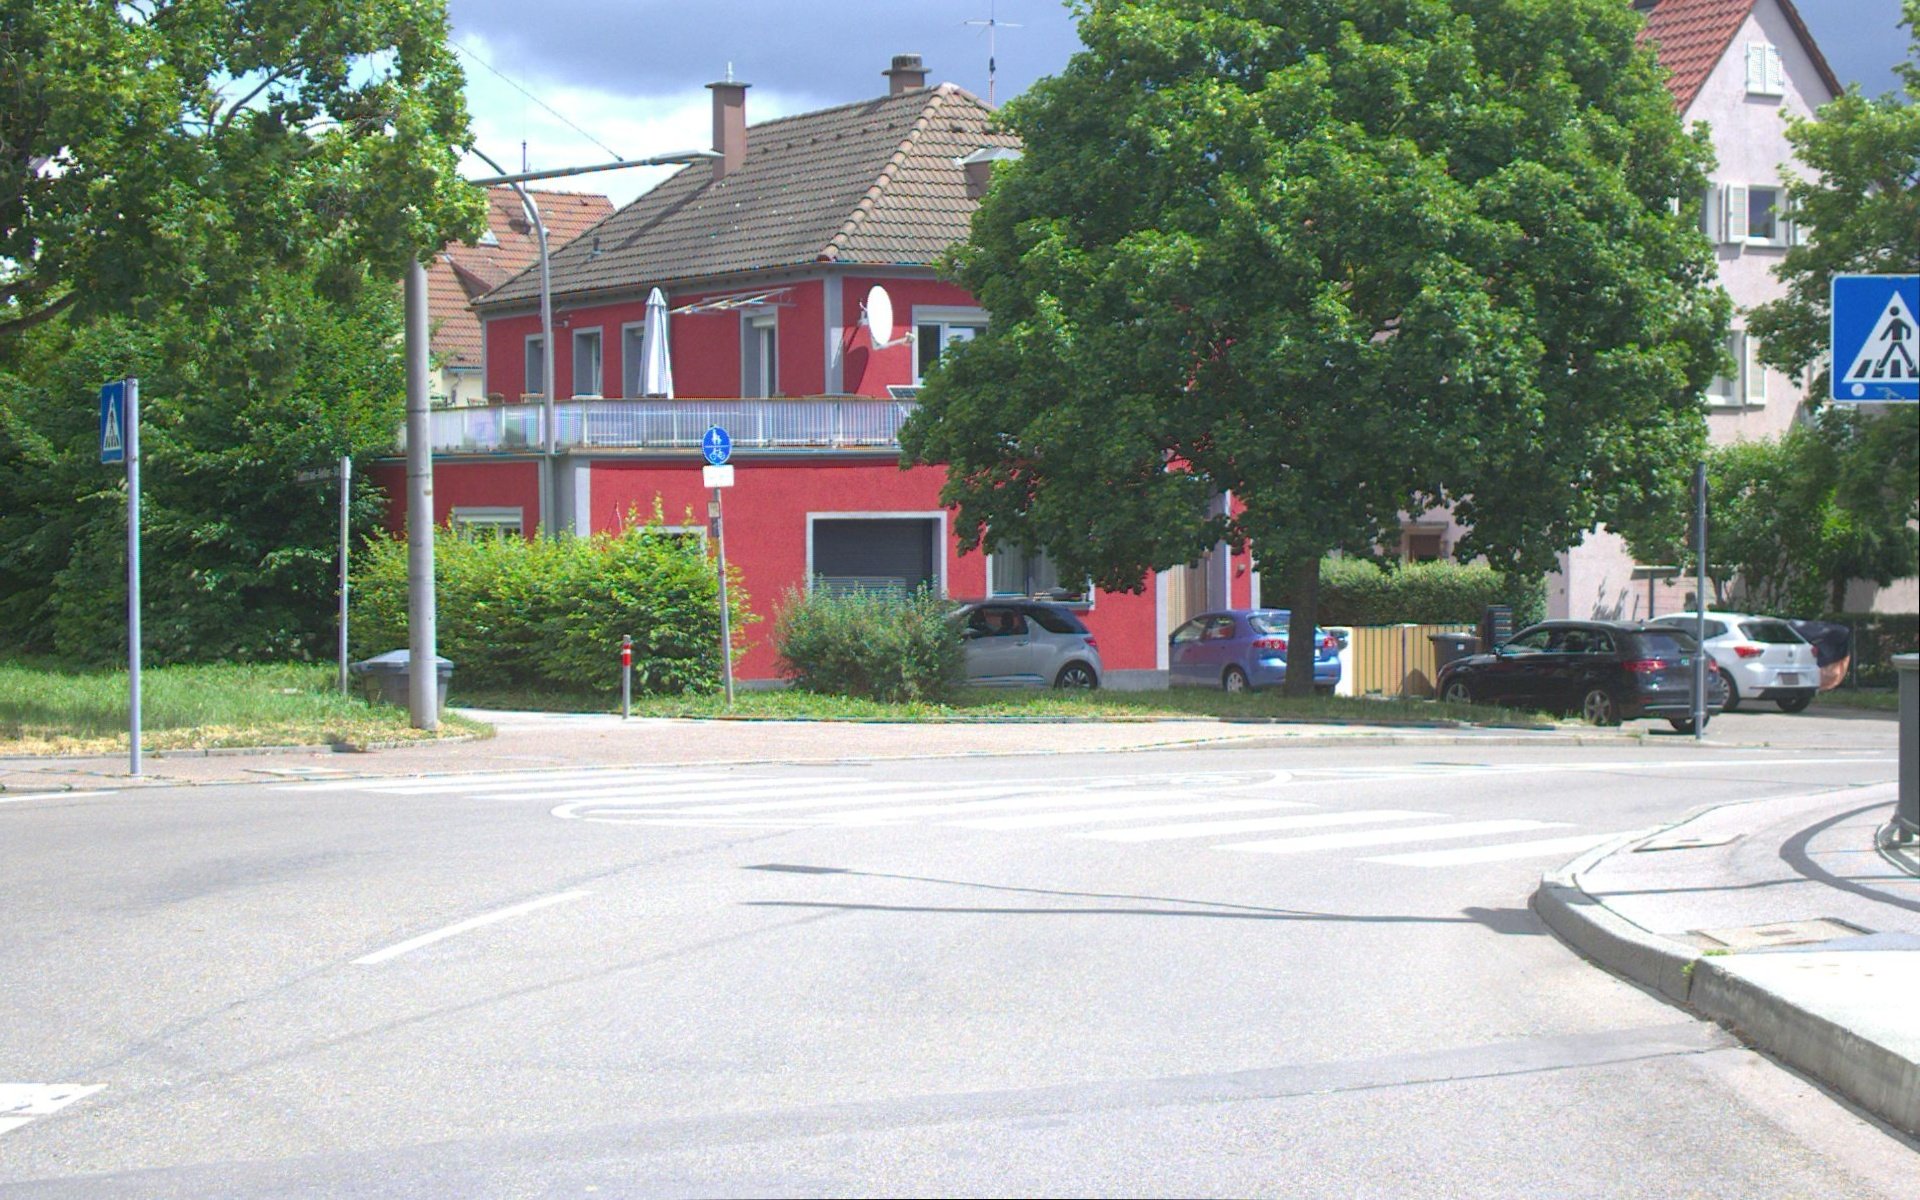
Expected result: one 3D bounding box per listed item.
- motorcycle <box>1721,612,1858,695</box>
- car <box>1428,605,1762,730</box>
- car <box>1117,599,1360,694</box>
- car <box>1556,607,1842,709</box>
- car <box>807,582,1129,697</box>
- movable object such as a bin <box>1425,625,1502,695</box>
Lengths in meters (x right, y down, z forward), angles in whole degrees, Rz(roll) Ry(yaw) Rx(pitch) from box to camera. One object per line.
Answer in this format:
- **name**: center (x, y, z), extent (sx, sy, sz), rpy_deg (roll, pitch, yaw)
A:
- **motorcycle**: center (14.039, 0.910, 58.185), extent (2.228, 1.311, 0.920), rpy_deg (2, 1, -33)
- **car**: center (8.201, 0.856, 44.735), extent (1.993, 1.388, 4.144), rpy_deg (1, 1, -31)
- **car**: center (4.239, 0.697, 52.871), extent (1.837, 1.373, 3.814), rpy_deg (1, 0, -31)
- **car**: center (11.016, 0.850, 51.449), extent (1.870, 1.399, 3.932), rpy_deg (2, 0, -35)
- **car**: center (0.123, 0.545, 46.572), extent (4.064, 1.420, 1.645), rpy_deg (1, 1, -32)
- **movable object such as a bin**: center (7.927, 0.941, 54.152), extent (0.877, 1.058, 0.758), rpy_deg (2, 1, -27)
